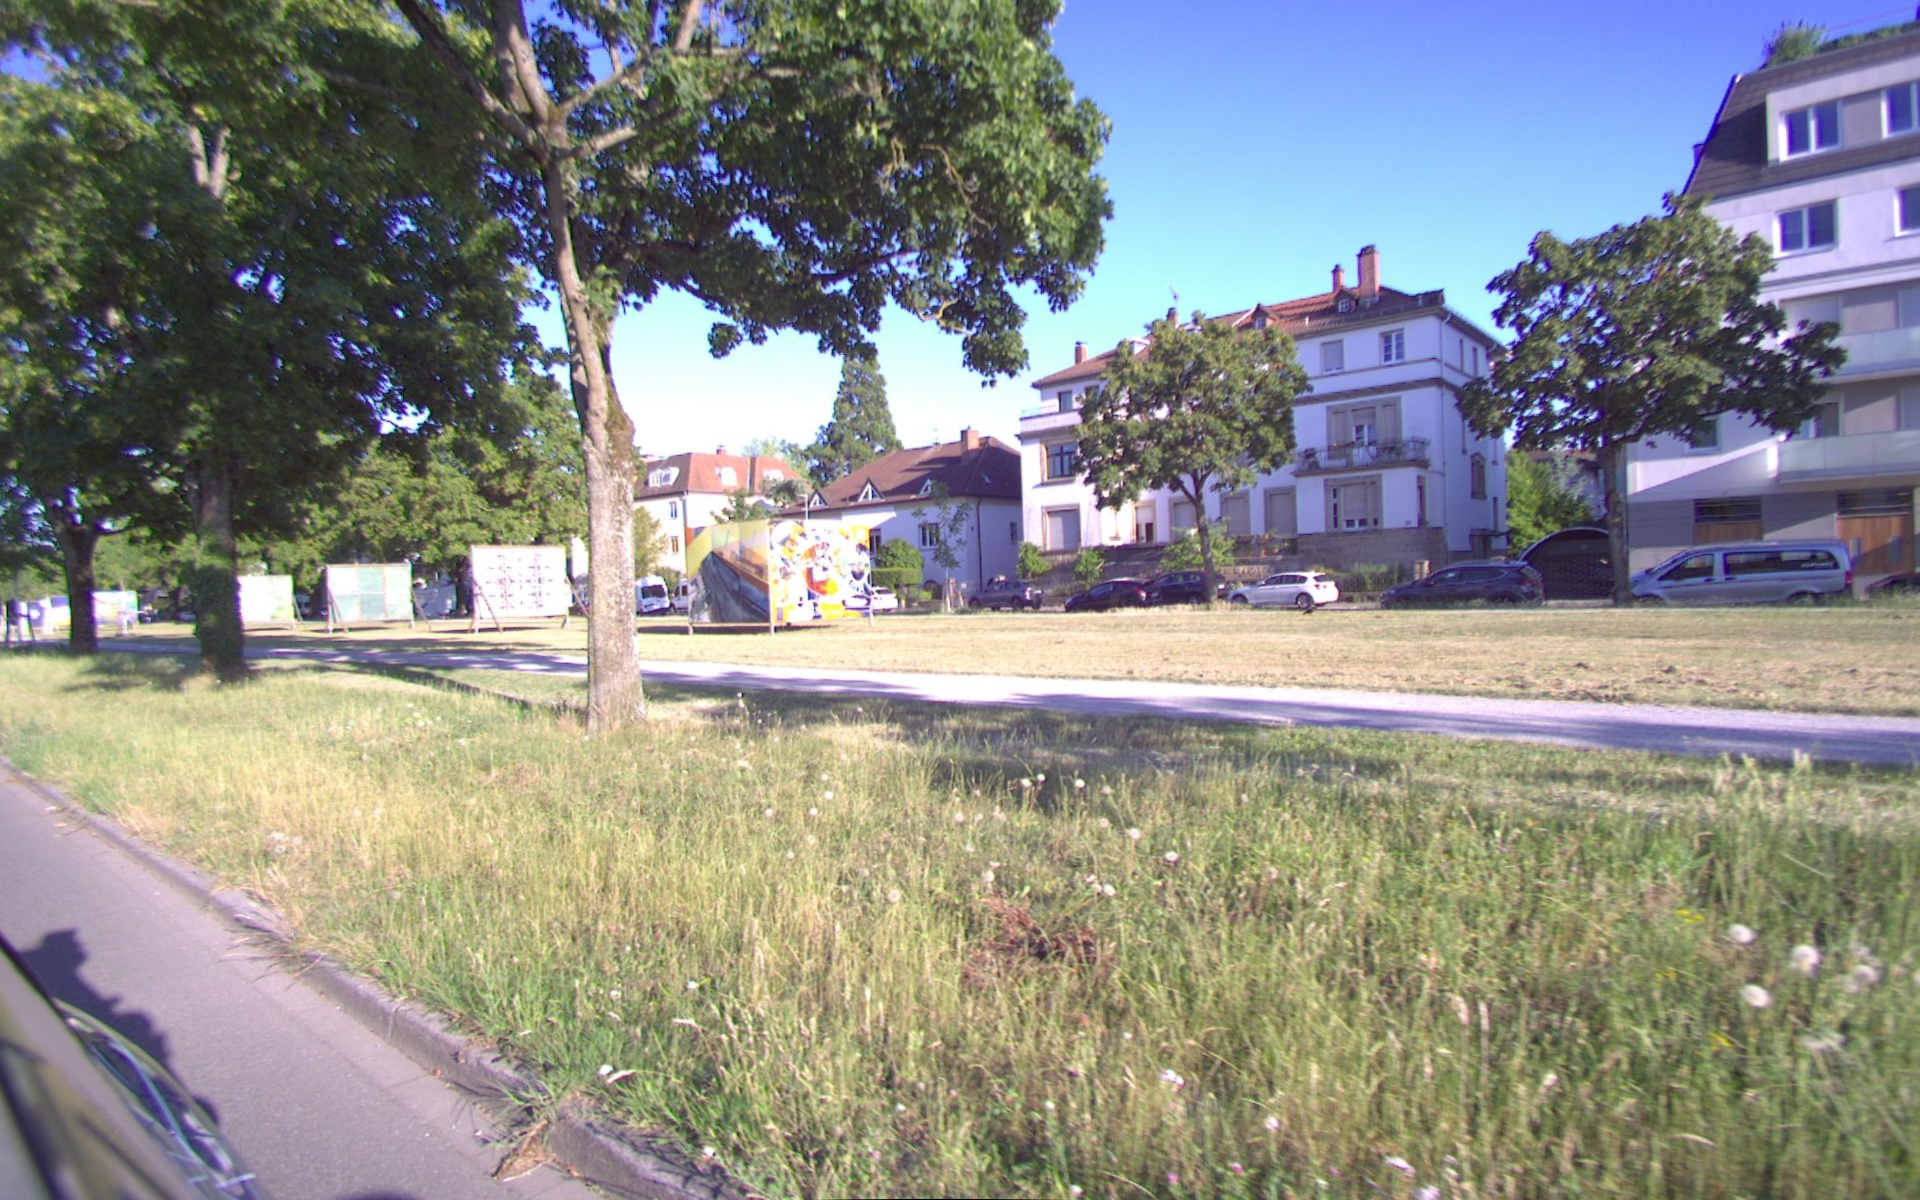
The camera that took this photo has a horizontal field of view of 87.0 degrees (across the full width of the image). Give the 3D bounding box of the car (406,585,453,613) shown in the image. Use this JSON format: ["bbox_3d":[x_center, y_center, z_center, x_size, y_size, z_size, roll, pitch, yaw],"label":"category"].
[{"bbox_3d":[-41.776,-0.057,79.696,3.998,2.029,1.973,-2,1,42],"label":"car"}]

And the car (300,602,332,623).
[{"bbox_3d":[-71.918,1.364,113.044,3.998,2.170,1.973,-2,1,42],"label":"car"}]

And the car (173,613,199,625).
[{"bbox_3d":[-116.375,2.857,152.151,3.992,1.510,1.976,-3,0,36],"label":"car"}]

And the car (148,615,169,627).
[{"bbox_3d":[-110.728,2.868,139.801,1.868,1.534,3.683,-2,0,-43],"label":"car"}]

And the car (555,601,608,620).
[{"bbox_3d":[-28.596,0.804,76.367,4.563,1.413,1.971,-1,-2,45],"label":"car"}]

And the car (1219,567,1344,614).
[{"bbox_3d":[12.803,-0.344,40.442,4.458,1.757,1.802,0,-2,42],"label":"car"}]

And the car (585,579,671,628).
[{"bbox_3d":[-20.020,0.235,60.889,5.869,2.847,2.237,0,-2,41],"label":"car"}]

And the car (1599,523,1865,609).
[{"bbox_3d":[19.984,-0.790,26.503,5.363,2.016,1.999,0,-2,38],"label":"car"}]

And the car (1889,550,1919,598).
[{"bbox_3d":[27.922,-0.779,27.388,4.064,1.287,1.972,-1,1,44],"label":"car"}]

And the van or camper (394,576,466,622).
[{"bbox_3d":[-41.776,-0.057,79.696,6.902,3.287,2.614,-2,1,42],"label":"van or camper"}]

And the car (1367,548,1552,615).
[{"bbox_3d":[14.984,-0.494,30.527,4.689,1.842,1.908,0,-2,41],"label":"car"}]

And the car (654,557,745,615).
[{"bbox_3d":[-16.994,-0.846,65.837,6.762,3.586,2.279,0,-2,41],"label":"car"}]

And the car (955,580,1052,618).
[{"bbox_3d":[2.101,-0.028,49.442,4.664,1.715,1.763,0,-2,41],"label":"car"}]

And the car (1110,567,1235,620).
[{"bbox_3d":[9.123,-0.224,43.771,4.852,2.147,2.214,0,-2,42],"label":"car"}]

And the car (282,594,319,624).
[{"bbox_3d":[-76.611,1.096,117.508,6.071,3.274,1.973,-3,0,41],"label":"car"}]

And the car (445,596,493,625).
[{"bbox_3d":[-43.130,0.957,88.833,5.115,2.437,1.917,0,-2,42],"label":"car"}]

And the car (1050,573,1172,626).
[{"bbox_3d":[5.779,0.015,39.071,4.325,1.931,1.870,0,-2,41],"label":"car"}]

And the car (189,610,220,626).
[{"bbox_3d":[-92.423,2.222,123.772,4.341,1.742,1.974,-3,0,40],"label":"car"}]
